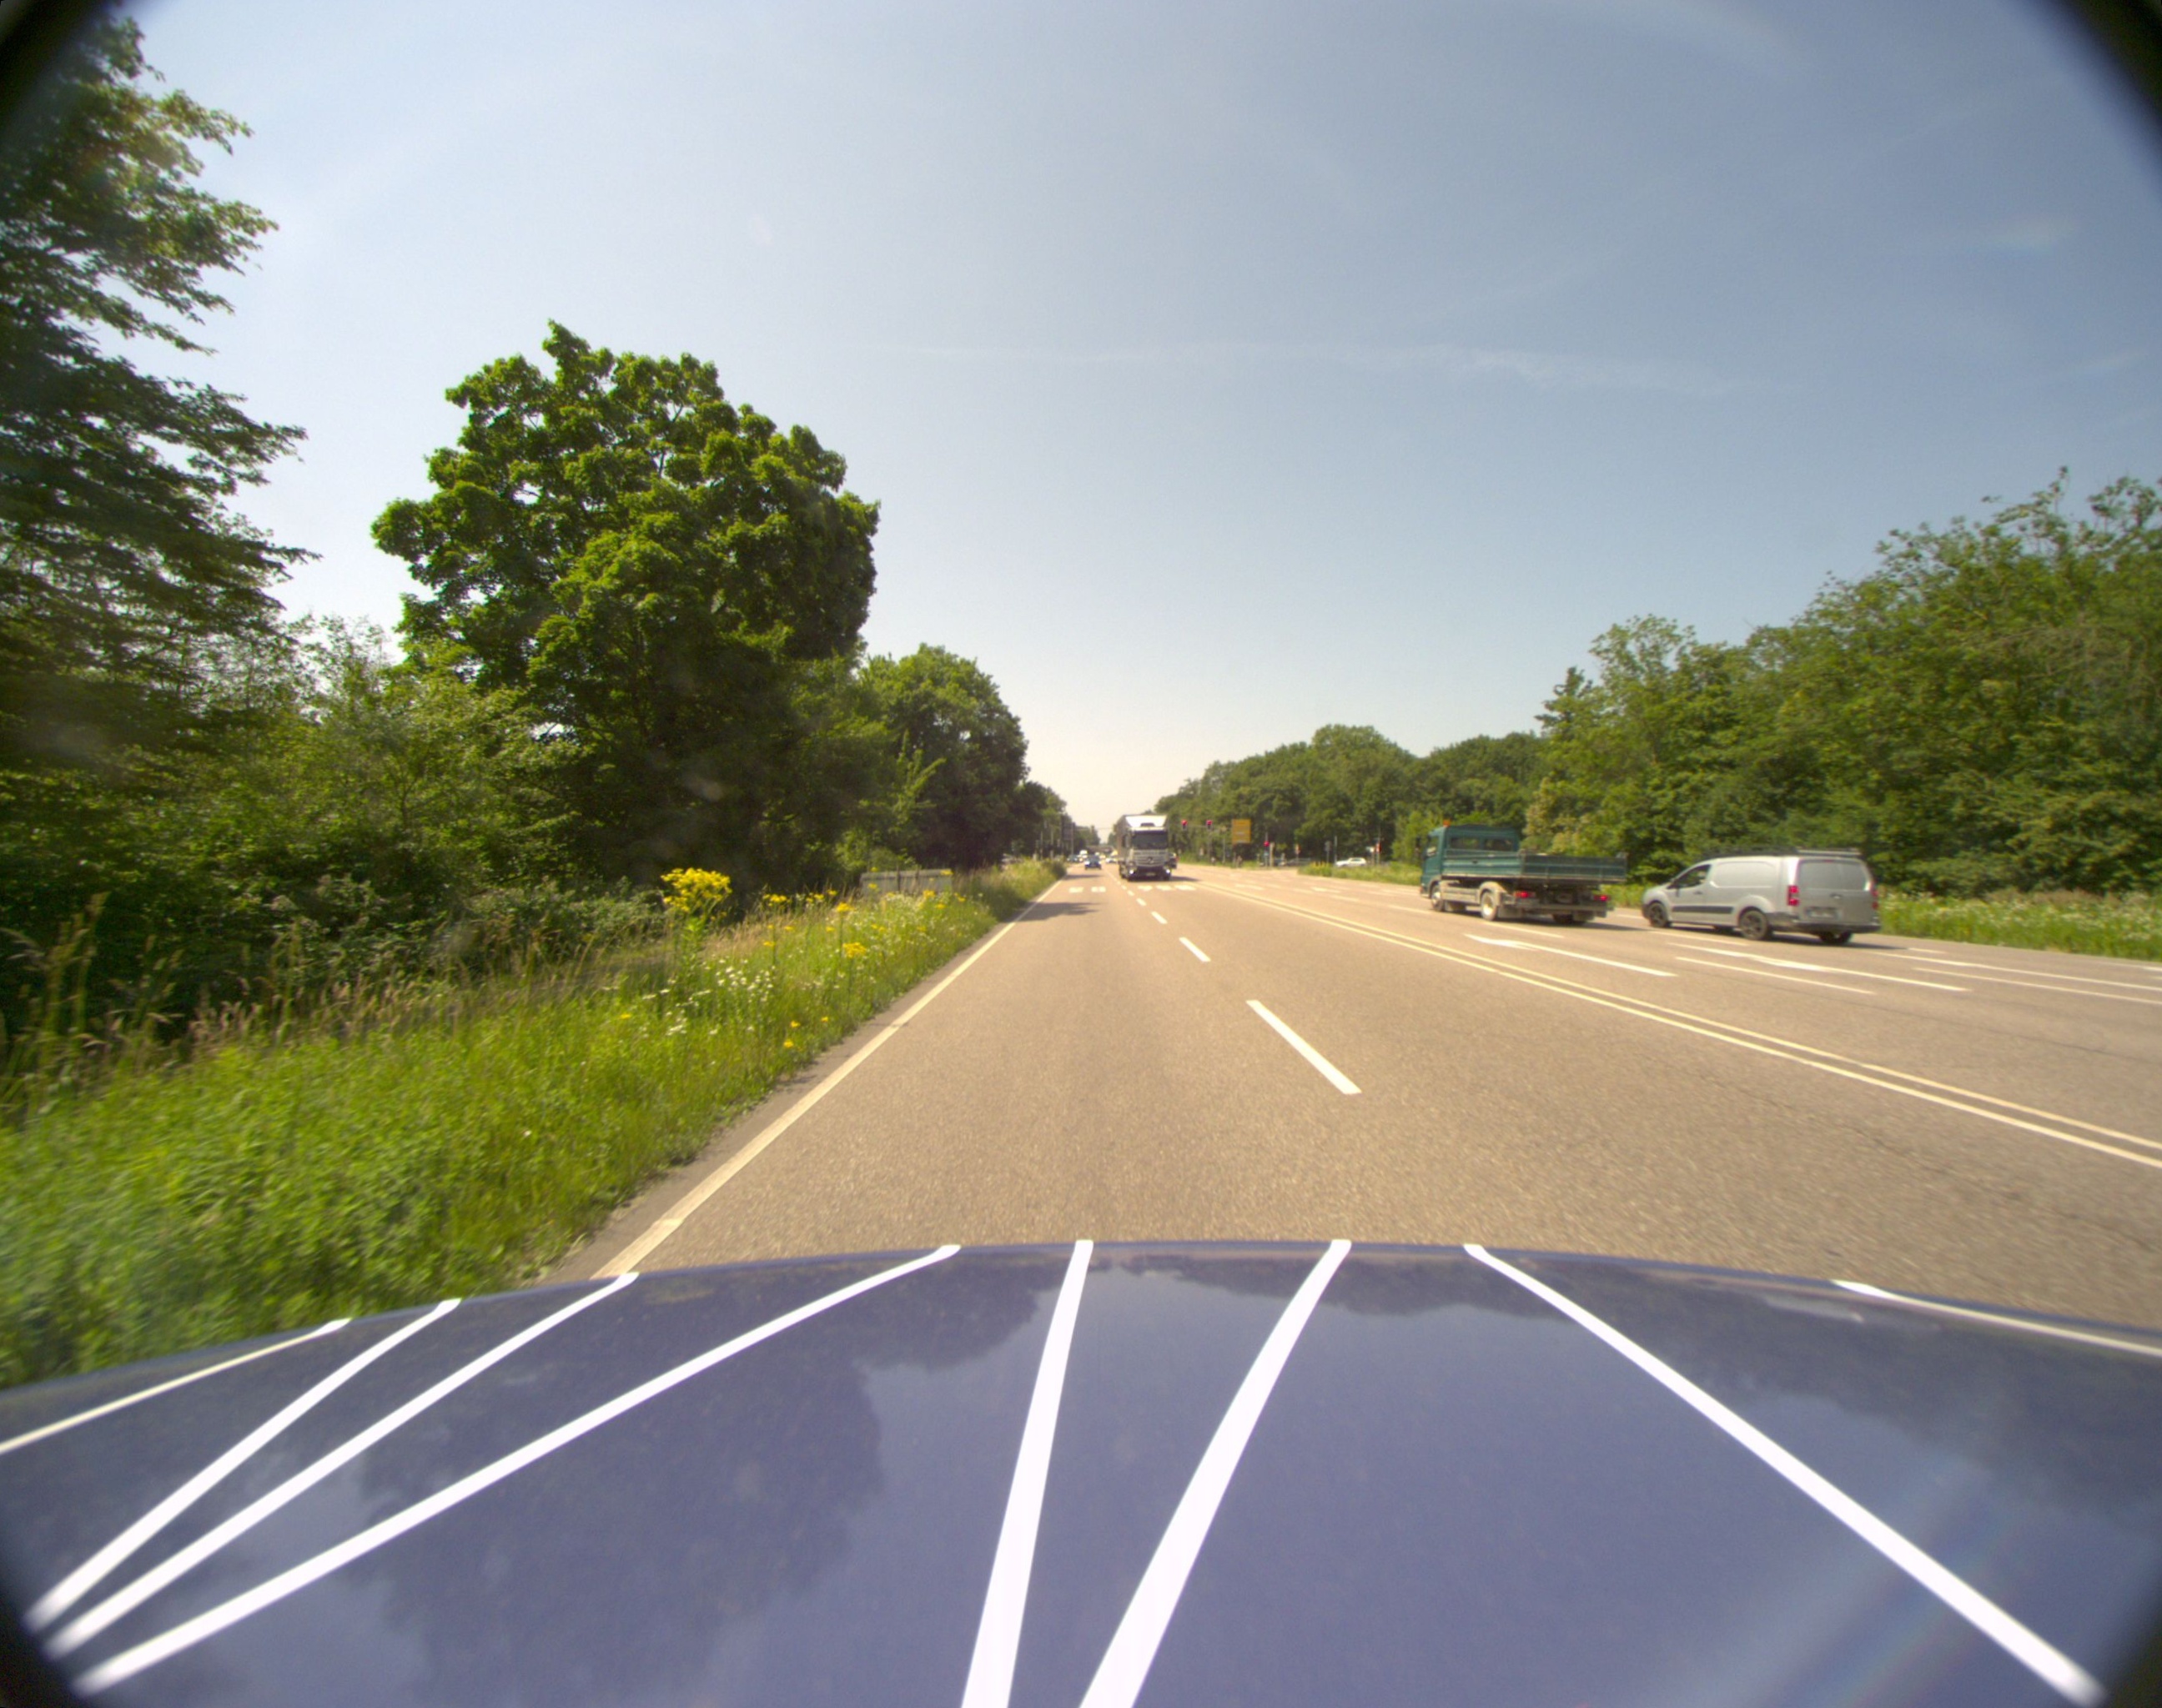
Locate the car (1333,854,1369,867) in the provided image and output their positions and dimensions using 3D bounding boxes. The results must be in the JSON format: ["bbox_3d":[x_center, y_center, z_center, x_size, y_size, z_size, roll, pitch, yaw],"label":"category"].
[{"bbox_3d":[41.726,0.962,117.501,4.816,1.884,2.066,1,0,2],"label":"car"}]

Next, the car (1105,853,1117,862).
[{"bbox_3d":[5.118,0.615,128.940,1.998,1.543,4.000,1,0,1],"label":"car"}]

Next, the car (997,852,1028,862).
[{"bbox_3d":[-9.748,0.423,108.190,4.102,1.438,1.995,1,0,0],"label":"car"}]

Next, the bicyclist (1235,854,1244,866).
[{"bbox_3d":[20.775,0.778,99.855,0.924,1.451,0.718,1,1,39],"label":"bicyclist"}]

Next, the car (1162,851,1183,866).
[{"bbox_3d":[10.612,0.492,88.477,1.998,1.668,5.366,2,0,2],"label":"car"}]

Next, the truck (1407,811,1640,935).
[{"bbox_3d":[11.252,0.420,20.193,2.460,2.641,6.491,3,0,2],"label":"truck"}]

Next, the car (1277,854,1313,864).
[{"bbox_3d":[32.040,0.748,113.750,4.817,1.510,1.862,1,0,0],"label":"car"}]

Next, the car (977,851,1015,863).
[{"bbox_3d":[-11.643,0.431,104.655,4.943,1.490,2.020,1,1,2],"label":"car"}]

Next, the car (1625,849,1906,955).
[{"bbox_3d":[14.875,0.926,17.017,1.998,1.954,4.821,3,0,3],"label":"car"}]

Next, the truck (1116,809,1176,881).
[{"bbox_3d":[3.823,-0.508,47.245,2.753,3.862,11.320,-1,0,0],"label":"truck"}]

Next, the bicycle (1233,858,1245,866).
[{"bbox_3d":[20.743,1.054,99.867,0.722,1.057,1.874,1,1,39],"label":"bicycle"}]

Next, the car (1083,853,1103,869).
[{"bbox_3d":[1.210,0.722,78.905,1.992,1.575,4.364,0,0,0],"label":"car"}]
